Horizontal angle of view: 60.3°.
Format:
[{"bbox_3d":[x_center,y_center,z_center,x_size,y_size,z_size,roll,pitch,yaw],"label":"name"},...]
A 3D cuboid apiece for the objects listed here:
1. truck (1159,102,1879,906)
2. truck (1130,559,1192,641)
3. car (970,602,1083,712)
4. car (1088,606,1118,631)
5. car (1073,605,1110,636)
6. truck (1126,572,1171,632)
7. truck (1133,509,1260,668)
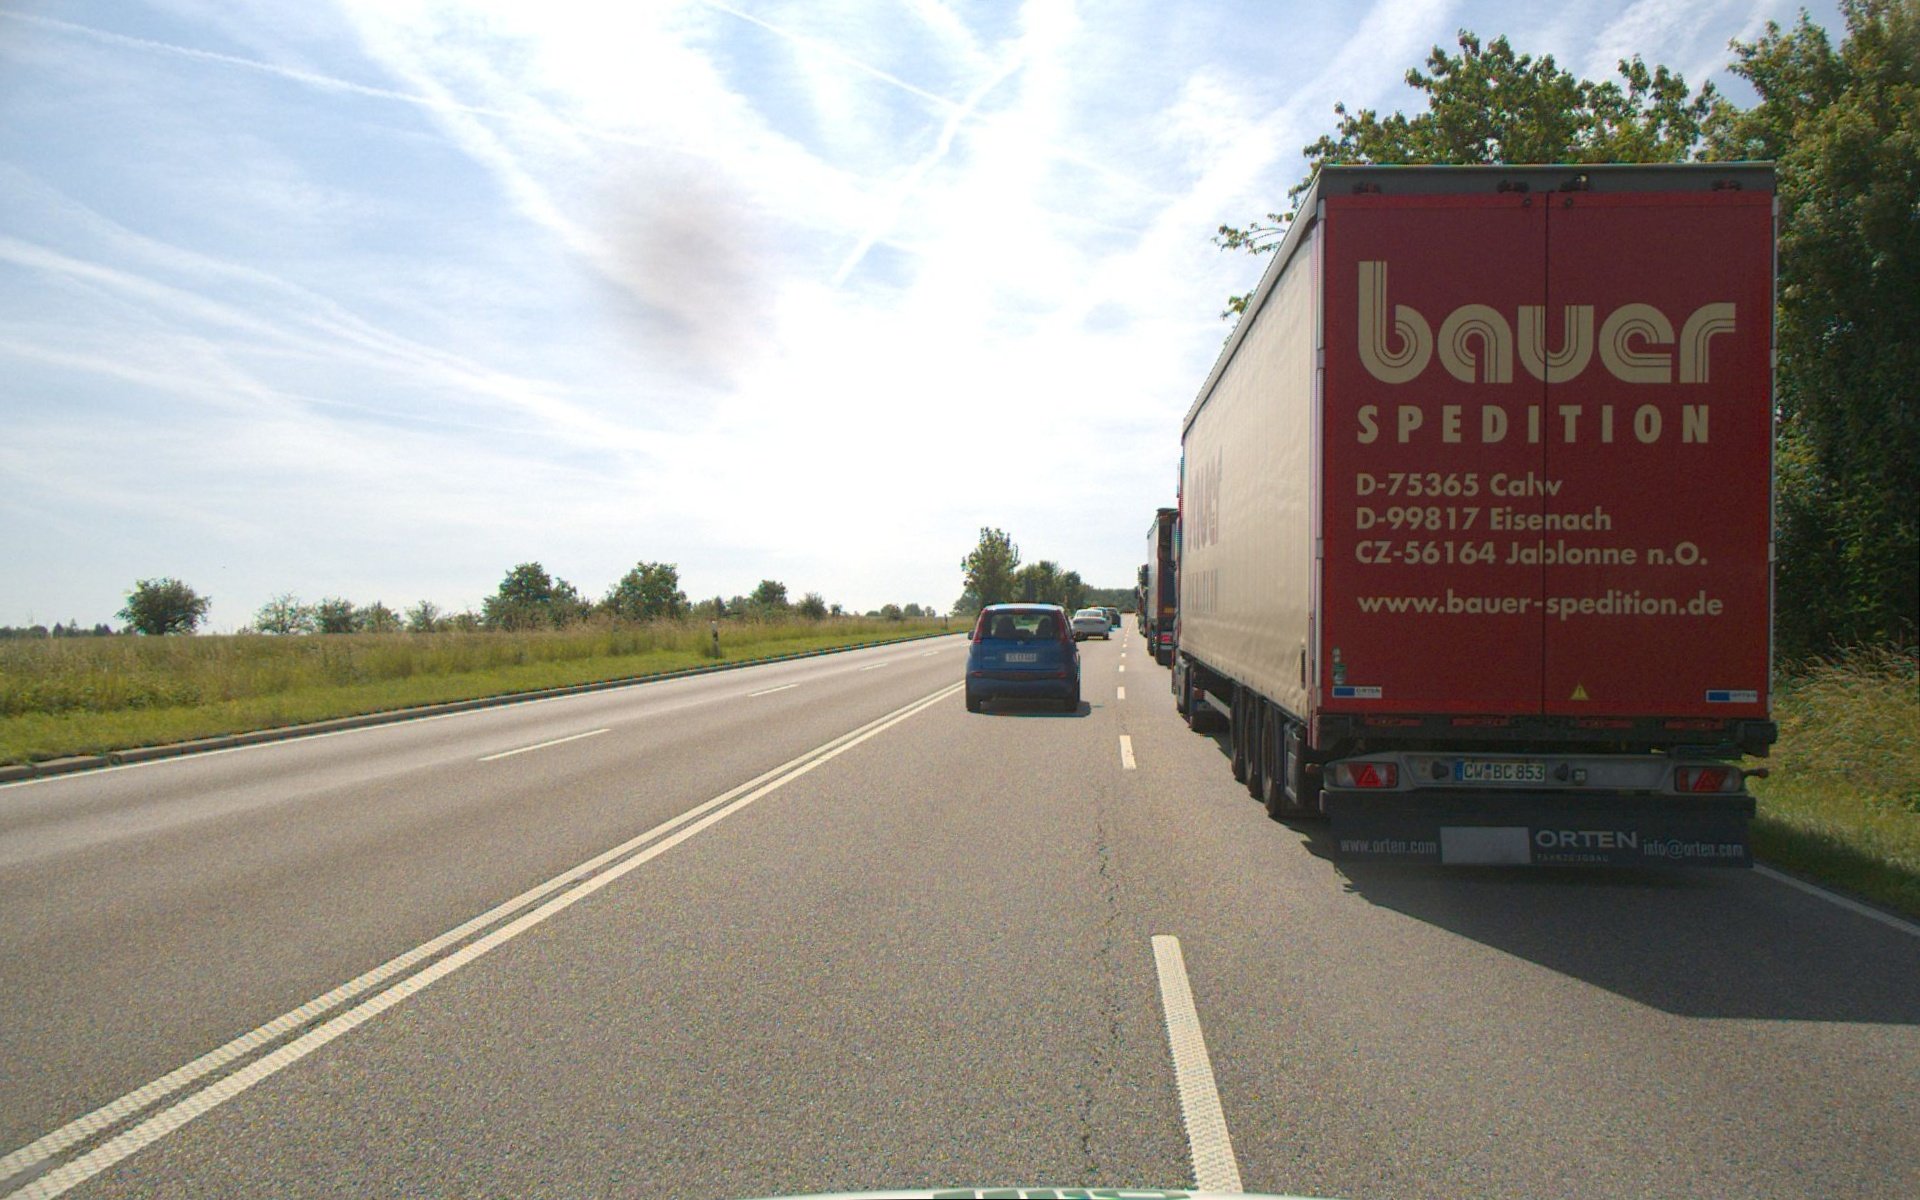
[{"bbox_3d":[3.972,-0.504,17.189,2.944,4.253,16.722,1,0,4],"label":"truck"},{"bbox_3d":[10.761,0.040,90.100,2.982,3.979,18.409,1,0,6],"label":"truck"},{"bbox_3d":[1.073,0.835,25.582,1.597,1.558,3.916,0,0,4],"label":"car"},{"bbox_3d":[9.148,1.166,105.794,1.782,1.498,4.792,2,0,6],"label":"car"},{"bbox_3d":[6.203,0.961,78.295,1.667,1.400,4.605,1,0,4],"label":"car"},{"bbox_3d":[13.671,0.180,120.723,2.982,3.979,18.409,1,0,6],"label":"truck"},{"bbox_3d":[6.754,-0.260,49.357,2.982,3.979,15.624,1,0,5],"label":"truck"}]
